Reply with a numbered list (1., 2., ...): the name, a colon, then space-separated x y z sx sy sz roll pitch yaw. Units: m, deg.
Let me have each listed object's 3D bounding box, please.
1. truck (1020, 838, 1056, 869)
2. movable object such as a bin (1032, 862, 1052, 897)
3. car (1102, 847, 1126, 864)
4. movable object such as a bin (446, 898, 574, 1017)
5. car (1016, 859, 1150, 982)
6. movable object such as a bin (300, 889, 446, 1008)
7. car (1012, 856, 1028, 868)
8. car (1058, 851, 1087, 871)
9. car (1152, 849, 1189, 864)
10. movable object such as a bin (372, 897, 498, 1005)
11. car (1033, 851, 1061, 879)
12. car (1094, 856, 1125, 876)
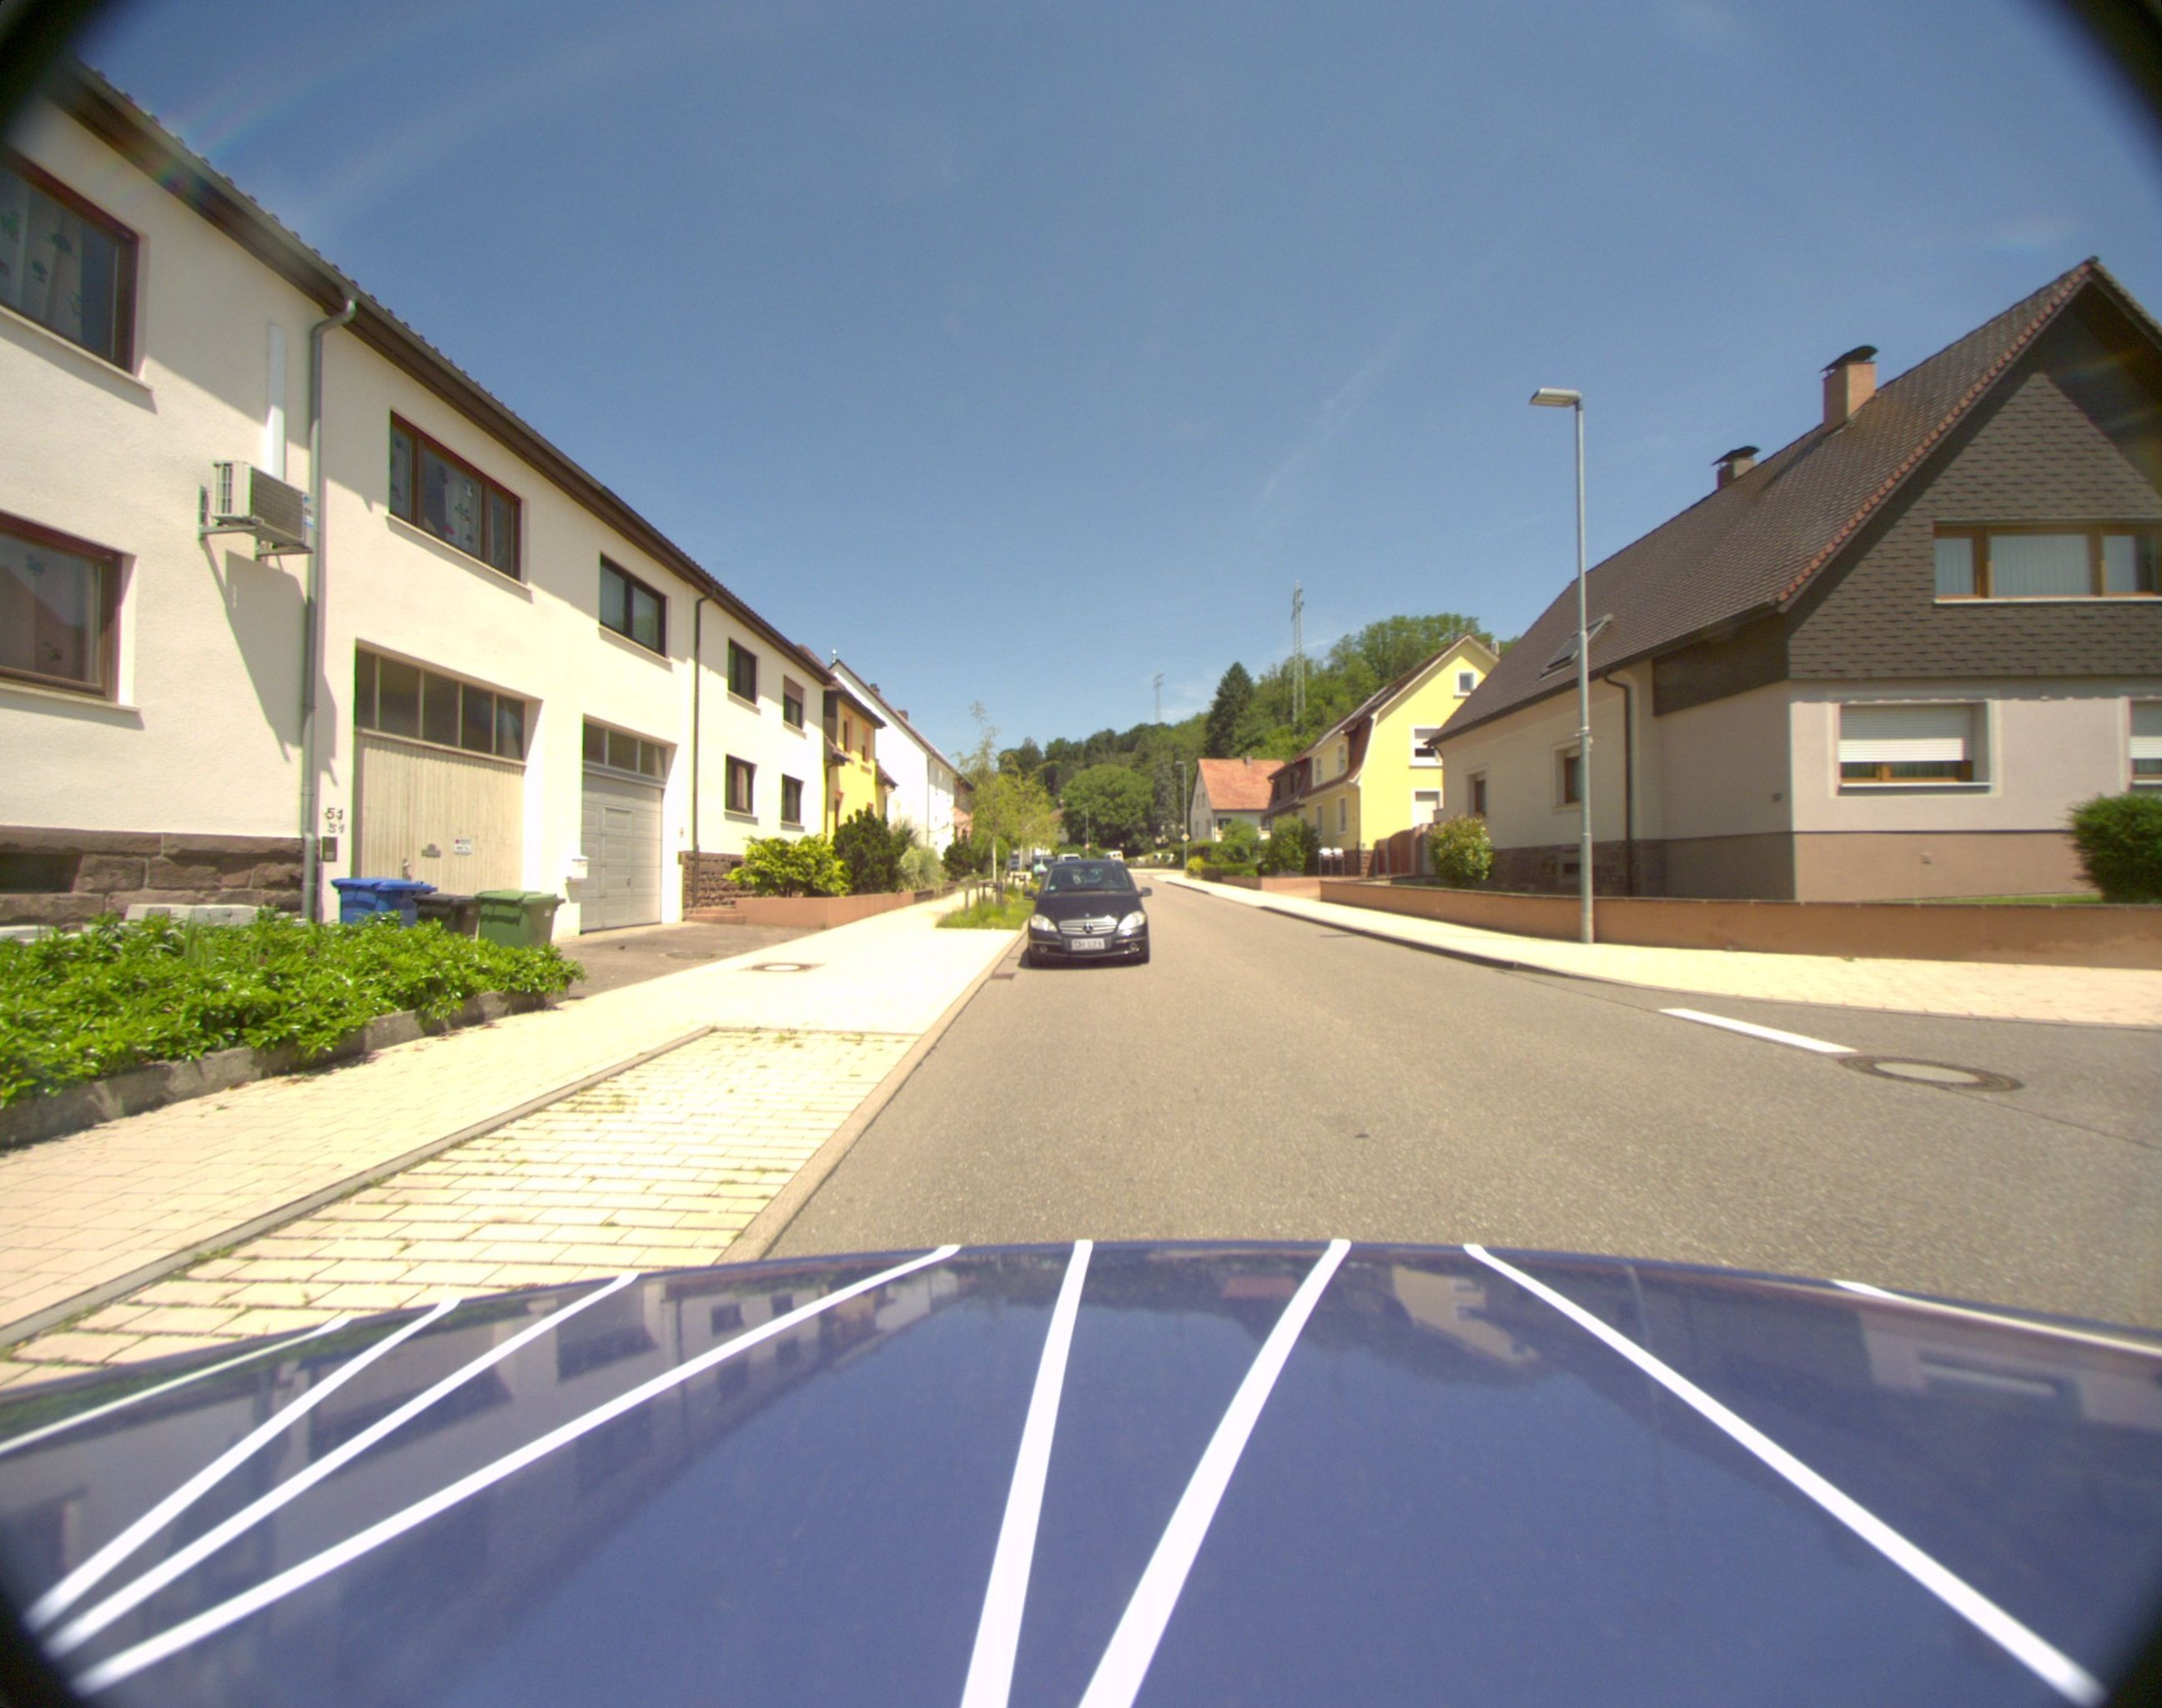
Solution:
1. truck: -5.328 -0.024 92.516 2.809 3.394 8.110 -2 0 -13
2. movable object such as a bin: -1.620 1.062 31.969 0.794 1.387 0.925 -1 0 -2
3. car: 4.109 0.168 94.537 1.706 1.937 3.994 -2 1 -18
4. movable object such as a bin: -6.011 1.059 8.036 0.685 1.109 0.812 3 1 6
5. car: 0.114 0.926 12.482 1.790 1.595 4.076 -2 0 2
6. movable object such as a bin: -7.389 0.960 7.969 0.686 1.100 0.863 3 1 7
7. car: -7.092 0.953 87.939 1.676 1.368 3.997 0 0 -8
8. car: -0.828 0.658 72.251 1.970 1.823 4.460 0 0 -11
9. car: 10.781 0.309 91.823 4.004 1.779 1.807 -2 0 -22
10. movable object such as a bin: -6.702 0.979 7.915 0.559 0.980 0.803 4 1 7
11. car: -2.373 0.749 53.103 1.860 1.832 4.669 1 0 -3
12. car: 1.994 0.848 54.100 1.910 1.342 3.999 -1 0 -2
